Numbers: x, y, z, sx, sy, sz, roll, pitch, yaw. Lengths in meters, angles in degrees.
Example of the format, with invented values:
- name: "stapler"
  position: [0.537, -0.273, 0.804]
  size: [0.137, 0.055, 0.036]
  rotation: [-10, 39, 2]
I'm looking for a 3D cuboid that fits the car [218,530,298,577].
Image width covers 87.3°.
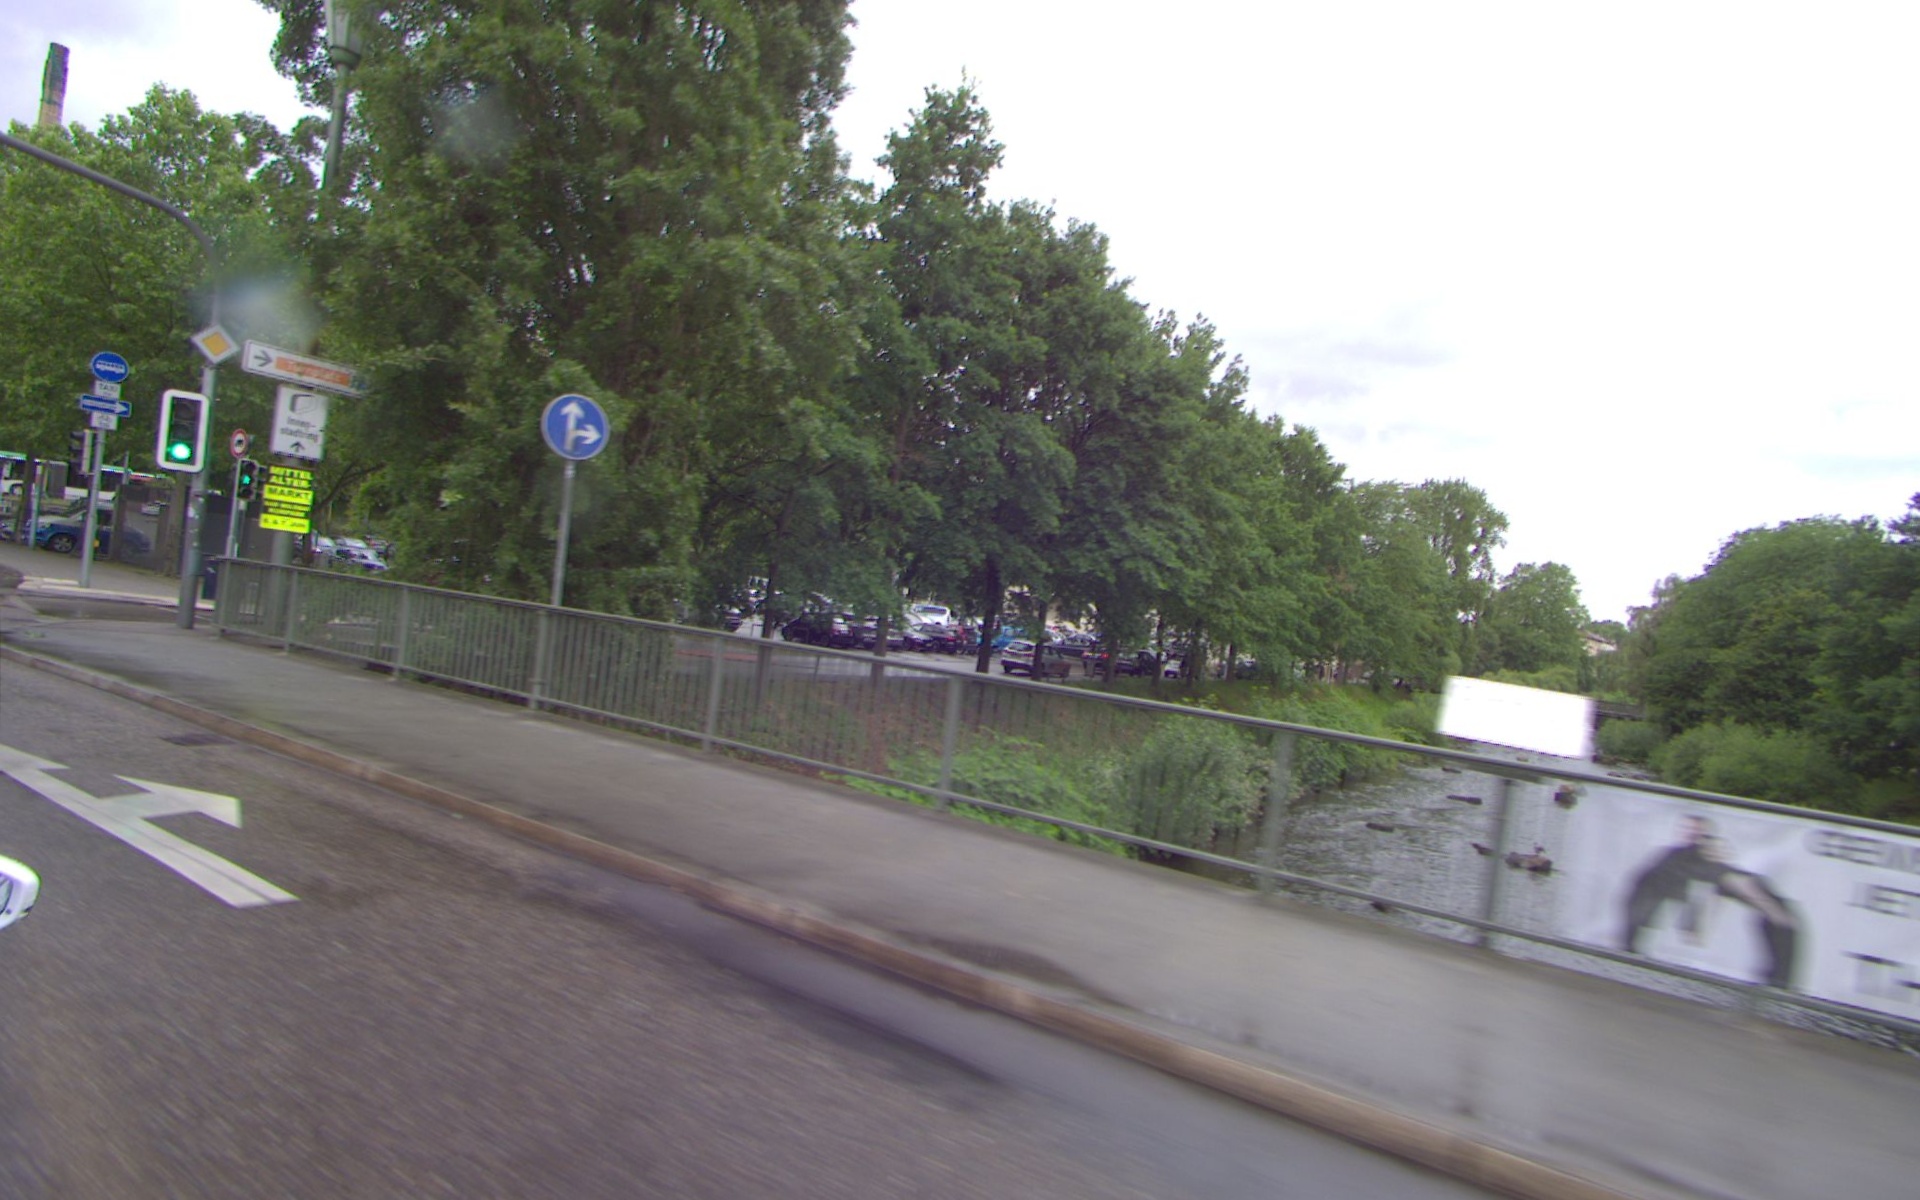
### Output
- name: "car"
  position: [-37.938, -2.512, 54.342]
  size: [3.662, 2.035, 1.909]
  rotation: [5, -4, 29]

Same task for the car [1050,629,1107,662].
- name: "car"
  position: [9.553, 3.671, 81.183]
  size: [3.929, 2.004, 1.999]
  rotation: [7, 0, 27]

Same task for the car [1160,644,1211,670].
- name: "car"
  position: [20.336, 5.186, 90.839]
  size: [3.933, 1.751, 1.953]
  rotation: [7, 0, 31]

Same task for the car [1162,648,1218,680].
- name: "car"
  position: [14.606, 4.049, 63.665]
  size: [1.969, 1.564, 3.991]
  rotation: [7, -2, 35]

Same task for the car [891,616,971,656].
- name: "car"
  position: [-1.577, 1.972, 54.845]
  size: [3.836, 1.606, 1.804]
  rotation: [7, -1, 29]

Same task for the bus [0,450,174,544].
- name: "bus"
  position: [-69.566, -8.158, 74.174]
  size: [3.049, 5.271, 17.943]
  rotation: [7, -2, 34]

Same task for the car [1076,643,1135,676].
- name: "car"
  position: [8.690, 3.562, 59.850]
  size: [1.730, 1.564, 3.991]
  rotation: [7, -2, 35]

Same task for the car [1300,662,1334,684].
- name: "car"
  position: [33.103, 6.776, 93.222]
  size: [1.883, 1.564, 3.991]
  rotation: [7, -2, 35]

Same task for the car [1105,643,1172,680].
- name: "car"
  position: [9.888, 3.434, 55.566]
  size: [1.969, 1.564, 3.991]
  rotation: [7, -2, 35]

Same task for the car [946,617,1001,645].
- name: "car"
  position: [1.227, 2.833, 92.109]
  size: [4.513, 1.869, 2.000]
  rotation: [7, -1, 25]

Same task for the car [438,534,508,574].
- name: "car"
  position: [-31.304, -2.957, 64.618]
  size: [3.995, 2.038, 1.997]
  rotation: [7, -1, 30]

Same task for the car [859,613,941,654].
- name: "car"
  position: [-3.163, 1.777, 52.933]
  size: [3.836, 1.606, 1.804]
  rotation: [7, -1, 29]

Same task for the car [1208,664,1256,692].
- name: "car"
  position: [19.900, 5.723, 73.554]
  size: [1.969, 1.564, 3.991]
  rotation: [7, -2, 35]

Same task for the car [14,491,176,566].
- name: "car"
  position: [-31.625, -2.592, 36.876]
  size: [1.938, 1.946, 3.994]
  rotation: [7, -2, 34]

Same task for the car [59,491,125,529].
- name: "car"
  position: [-54.288, -5.656, 62.893]
  size: [4.158, 1.847, 1.833]
  rotation: [7, -1, 32]

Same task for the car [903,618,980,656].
- name: "car"
  position: [-1.043, 2.090, 57.005]
  size: [3.836, 1.606, 1.804]
  rotation: [7, -1, 29]

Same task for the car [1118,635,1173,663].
- name: "car"
  position: [15.649, 4.121, 84.786]
  size: [3.933, 1.751, 1.953]
  rotation: [7, 0, 31]

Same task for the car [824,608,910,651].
- name: "car"
  position: [-4.700, 1.479, 50.930]
  size: [3.836, 1.606, 1.804]
  rotation: [7, -1, 29]

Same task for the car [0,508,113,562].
- name: "car"
  position: [-37.504, -2.706, 41.114]
  size: [1.715, 1.525, 3.995]
  rotation: [7, -3, 34]

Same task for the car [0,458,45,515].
- name: "car"
  position: [-56.723, -6.824, 59.870]
  size: [4.158, 3.005, 2.076]
  rotation: [7, -1, 32]

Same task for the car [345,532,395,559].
- name: "car"
  position: [-44.087, -4.082, 75.162]
  size: [3.548, 1.586, 1.633]
  rotation: [7, -1, 32]

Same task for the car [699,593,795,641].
- name: "car"
  position: [-10.438, 0.807, 49.184]
  size: [4.270, 1.730, 1.804]
  rotation: [7, -1, 29]

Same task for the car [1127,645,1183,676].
- name: "car"
  position: [12.708, 3.944, 65.267]
  size: [1.969, 1.564, 3.991]
  rotation: [7, -2, 35]

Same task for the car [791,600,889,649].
- name: "car"
  position: [-5.771, 1.154, 48.244]
  size: [4.270, 1.730, 1.804]
  rotation: [7, -1, 29]

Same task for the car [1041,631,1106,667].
- name: "car"
  position: [8.076, 3.475, 71.369]
  size: [3.929, 2.004, 1.999]
  rotation: [7, 0, 27]

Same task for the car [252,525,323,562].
- name: "car"
  position: [-40.579, -3.406, 60.732]
  size: [3.662, 1.755, 1.909]
  rotation: [5, -4, 29]

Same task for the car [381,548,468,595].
- name: "car"
  position: [-24.461, -1.300, 45.933]
  size: [3.573, 1.672, 1.598]
  rotation: [7, 1, 26]

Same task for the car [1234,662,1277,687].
- name: "car"
  position: [23.174, 5.839, 78.783]
  size: [1.969, 1.564, 3.991]
  rotation: [7, -2, 35]

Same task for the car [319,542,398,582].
- name: "car"
  position: [-29.079, -1.846, 48.591]
  size: [3.936, 1.451, 1.671]
  rotation: [7, -1, 35]

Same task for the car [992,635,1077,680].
- name: "car"
  position: [3.344, 2.589, 44.711]
  size: [1.861, 1.564, 3.991]
  rotation: [7, -2, 35]

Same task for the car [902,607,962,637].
- name: "car"
  position: [-2.344, 1.853, 85.007]
  size: [4.513, 1.869, 2.000]
  rotation: [7, -1, 25]

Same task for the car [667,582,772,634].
- name: "car"
  position: [-11.093, 0.353, 46.306]
  size: [4.507, 1.785, 1.804]
  rotation: [7, -1, 29]

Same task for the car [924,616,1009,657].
- name: "car"
  position: [0.361, 2.162, 59.614]
  size: [4.517, 1.778, 1.934]
  rotation: [7, -1, 31]

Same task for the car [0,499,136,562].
- name: "car"
  position: [-35.279, -2.727, 39.501]
  size: [1.887, 1.667, 3.995]
  rotation: [7, -3, 34]

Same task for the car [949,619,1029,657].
- name: "car"
  position: [1.836, 2.432, 64.060]
  size: [4.517, 1.778, 1.934]
  rotation: [7, -1, 31]

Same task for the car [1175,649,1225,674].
- name: "car"
  position: [22.447, 5.702, 94.046]
  size: [3.933, 1.751, 1.953]
  rotation: [7, 0, 31]

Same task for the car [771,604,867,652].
- name: "car"
  position: [-6.477, 1.267, 46.103]
  size: [3.947, 1.609, 1.804]
  rotation: [7, -1, 29]

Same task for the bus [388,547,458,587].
- name: "bus"
  position: [-33.333, -2.061, 62.434]
  size: [3.937, 1.968, 1.998]
  rotation: [4, -4, 34]
